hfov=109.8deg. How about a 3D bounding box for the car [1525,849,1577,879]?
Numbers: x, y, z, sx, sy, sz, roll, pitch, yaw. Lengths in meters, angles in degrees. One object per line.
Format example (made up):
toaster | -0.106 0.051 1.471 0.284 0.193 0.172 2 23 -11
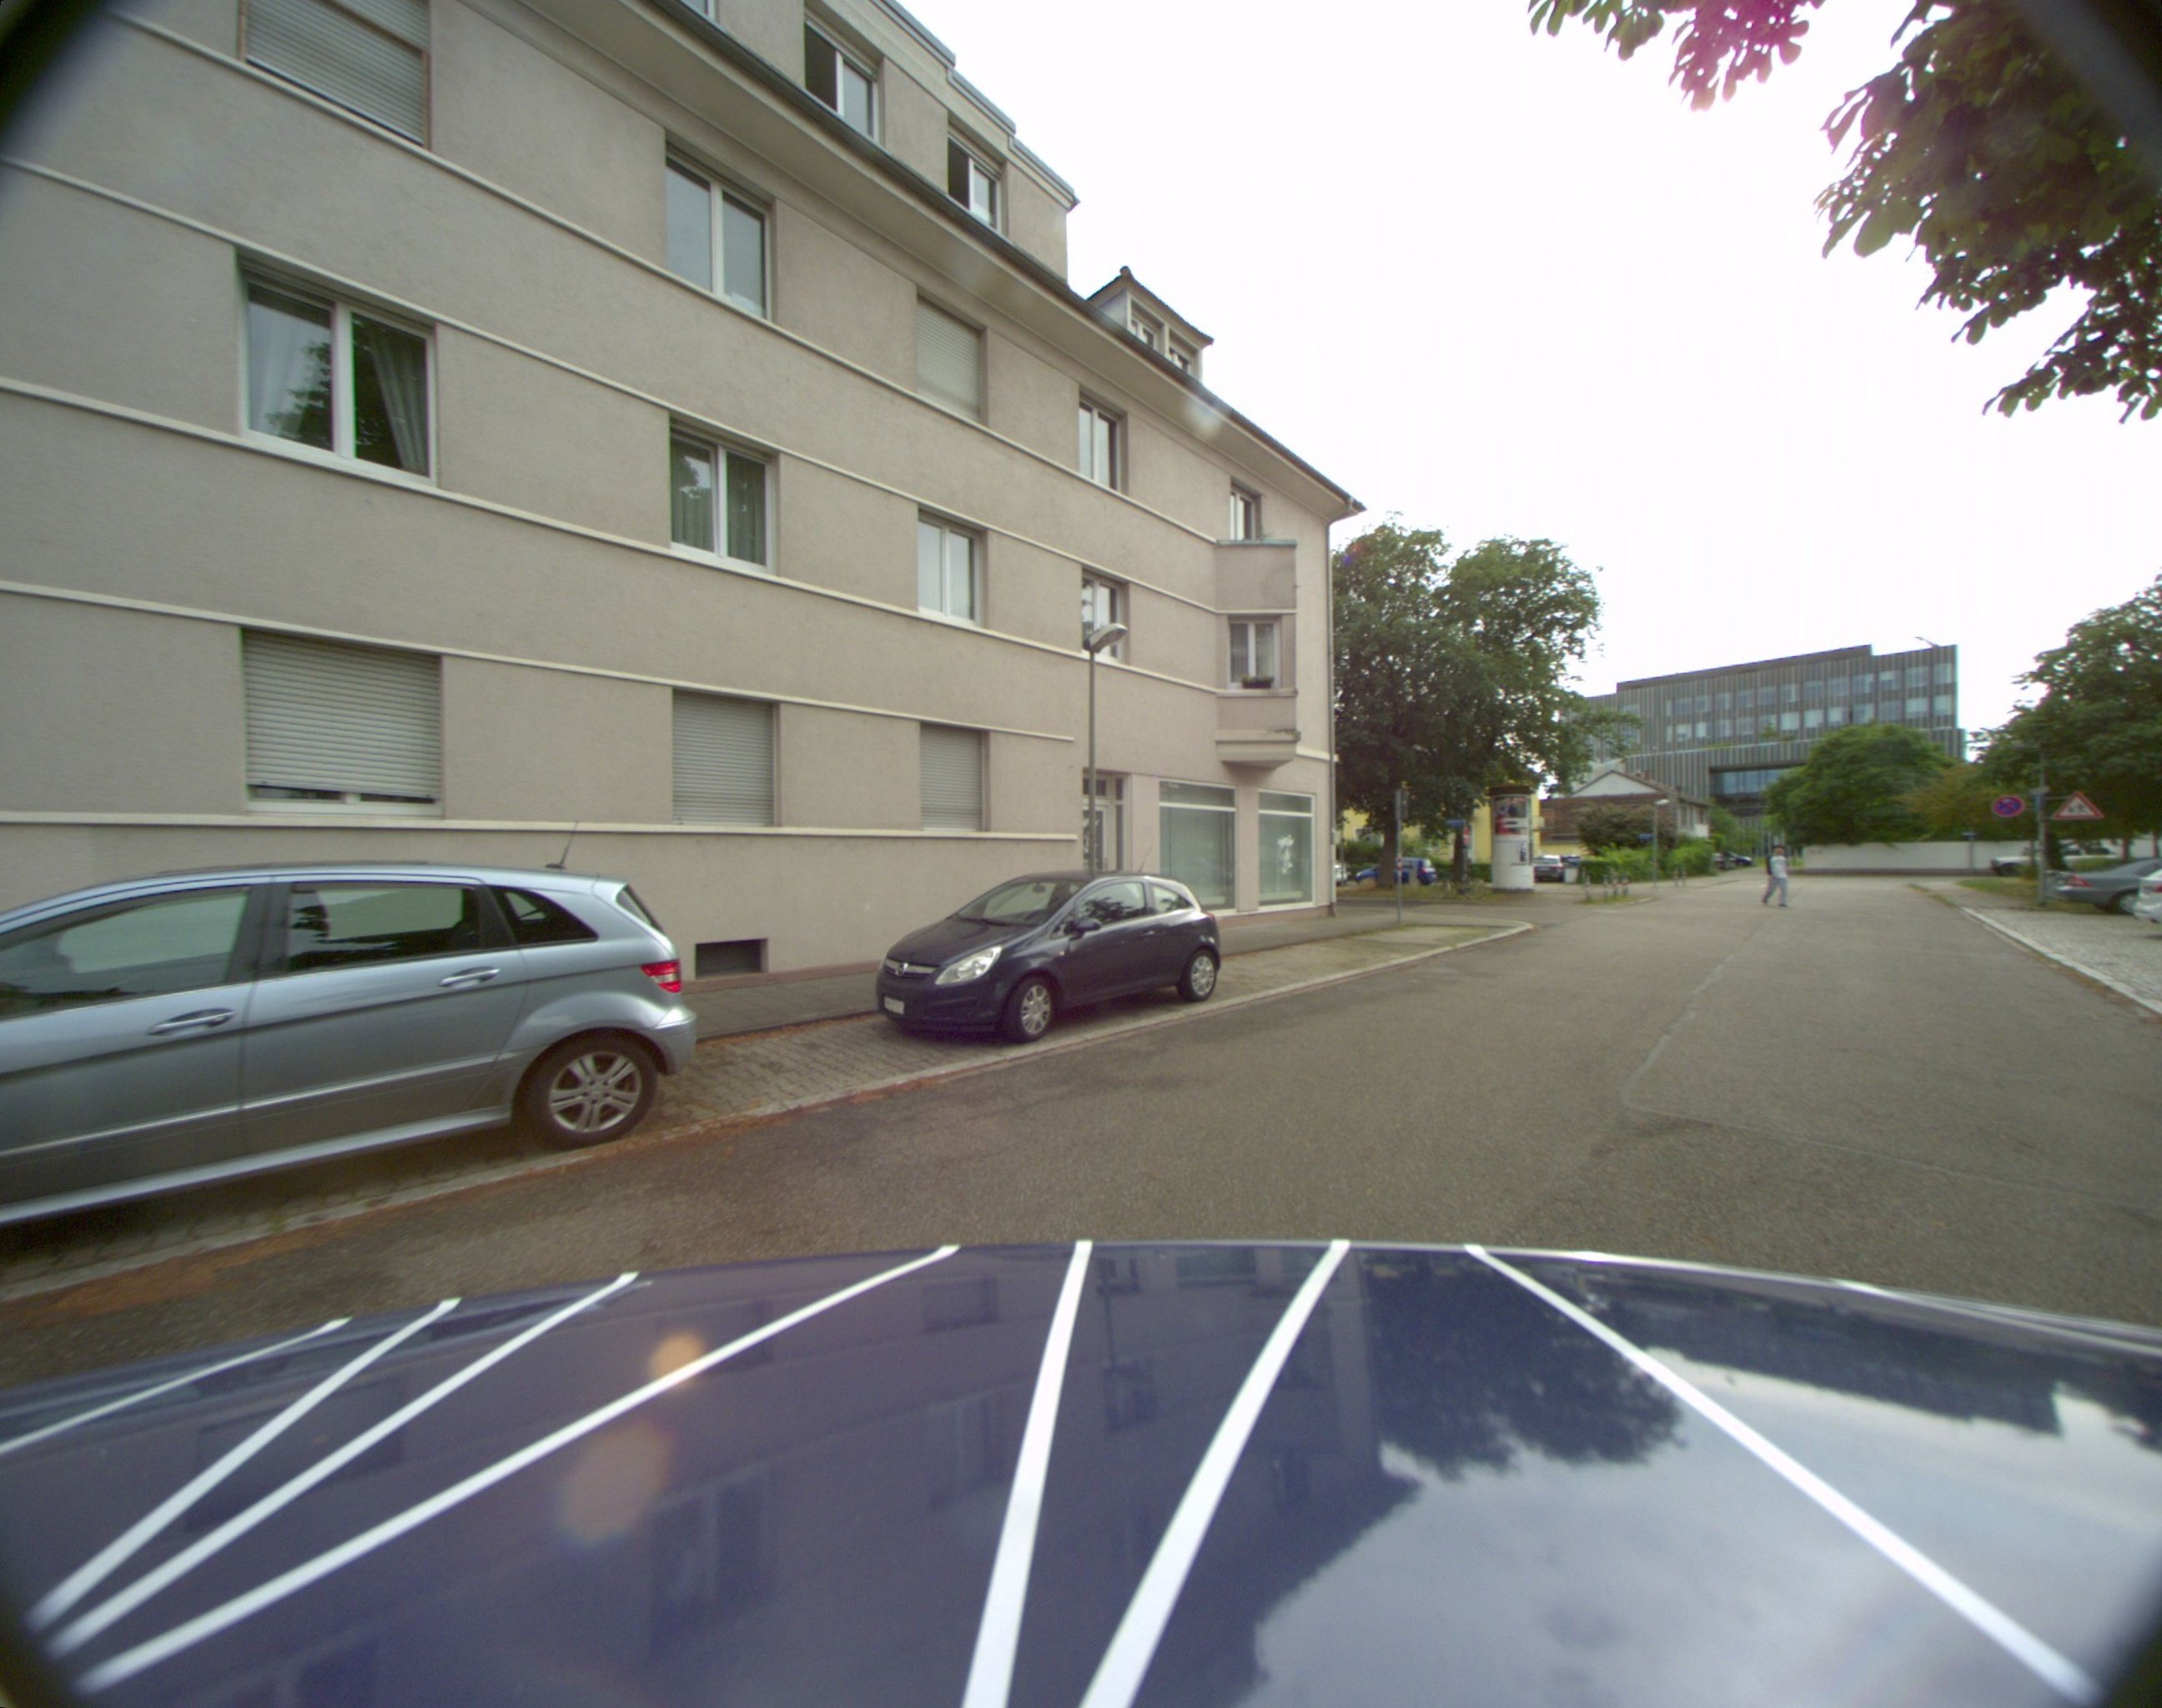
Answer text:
car | 26.136 0.529 42.227 1.838 1.601 4.008 -1 0 41

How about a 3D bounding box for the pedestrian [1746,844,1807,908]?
pedestrian | 20.547 0.637 22.484 0.877 1.825 1.221 -1 0 16

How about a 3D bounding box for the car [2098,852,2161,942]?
car | 21.259 0.665 13.106 1.888 1.551 4.139 -3 -2 -45

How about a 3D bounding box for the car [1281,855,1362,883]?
car | 14.193 0.900 44.969 4.155 1.492 1.722 -1 2 40

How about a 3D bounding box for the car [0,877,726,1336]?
car | -4.313 1.012 3.832 4.208 1.618 1.758 -1 0 -42

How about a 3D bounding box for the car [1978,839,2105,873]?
car | 57.556 0.150 45.677 4.481 1.849 2.003 -1 2 42

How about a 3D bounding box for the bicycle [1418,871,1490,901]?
bicycle | 12.994 1.106 26.490 2.176 0.980 0.513 -2 2 38

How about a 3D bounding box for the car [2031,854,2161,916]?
car | 26.743 0.718 18.311 4.547 1.445 1.683 -2 -1 41

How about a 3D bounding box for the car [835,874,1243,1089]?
car | -0.228 1.019 7.757 3.945 1.481 1.757 -1 0 -44

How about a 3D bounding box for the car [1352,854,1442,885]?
car | 17.358 0.838 41.887 4.198 1.557 1.708 -1 1 44

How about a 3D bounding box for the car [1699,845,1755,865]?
car | 64.336 0.098 75.680 2.003 1.827 3.989 -4 2 -43

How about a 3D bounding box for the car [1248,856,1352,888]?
car | 11.440 0.948 39.878 4.870 1.557 1.907 -1 0 40
